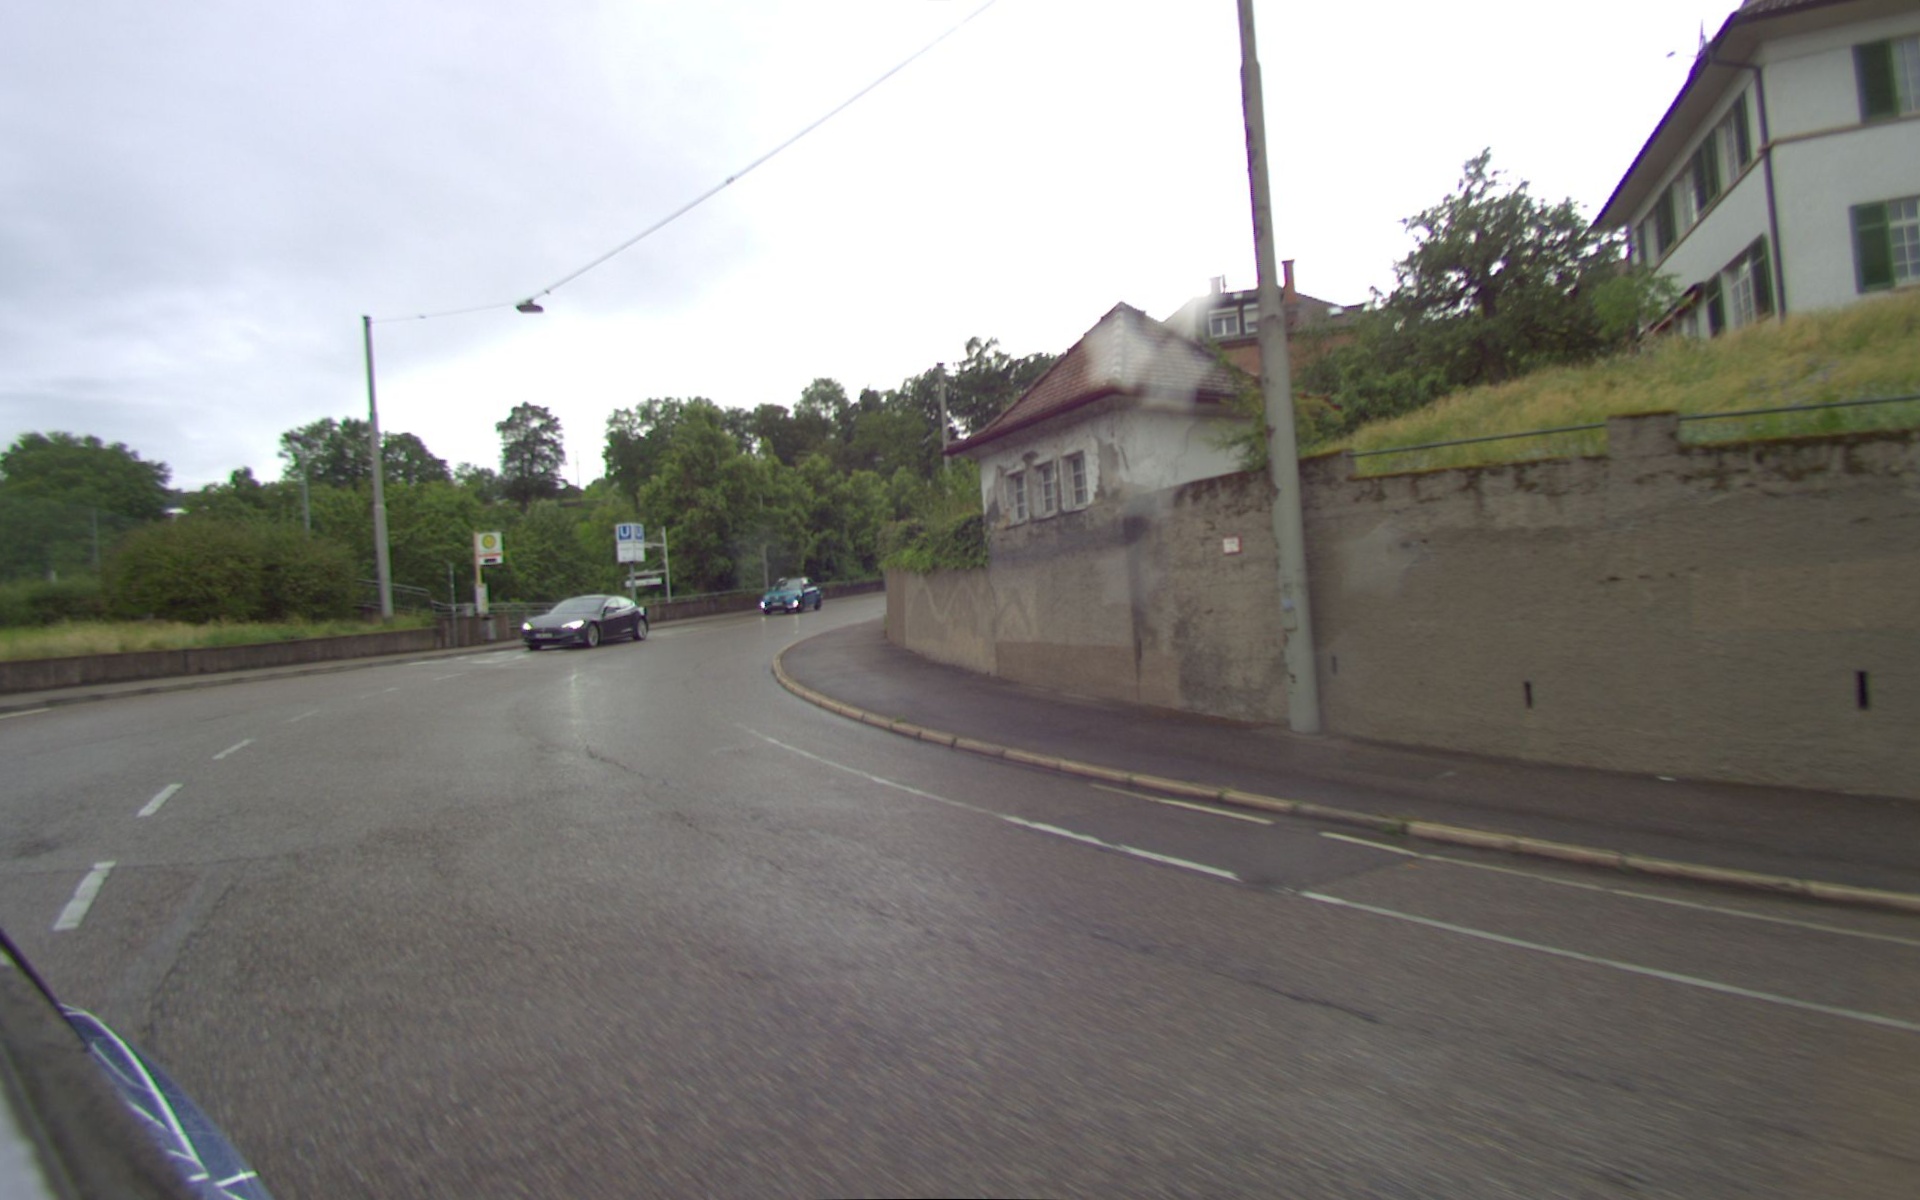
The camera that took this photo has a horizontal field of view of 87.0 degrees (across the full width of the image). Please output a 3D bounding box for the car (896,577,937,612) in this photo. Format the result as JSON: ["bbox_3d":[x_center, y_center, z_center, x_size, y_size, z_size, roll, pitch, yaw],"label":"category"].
[{"bbox_3d":[-3.105,-0.361,72.877,1.979,2.029,3.984,-5,-6,11],"label":"car"}]

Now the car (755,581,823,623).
[{"bbox_3d":[-7.757,0.126,46.248,1.782,1.622,4.029,-5,-3,9],"label":"car"}]

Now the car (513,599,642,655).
[{"bbox_3d":[-10.900,0.717,29.187,1.813,1.402,4.319,-2,1,4],"label":"car"}]
